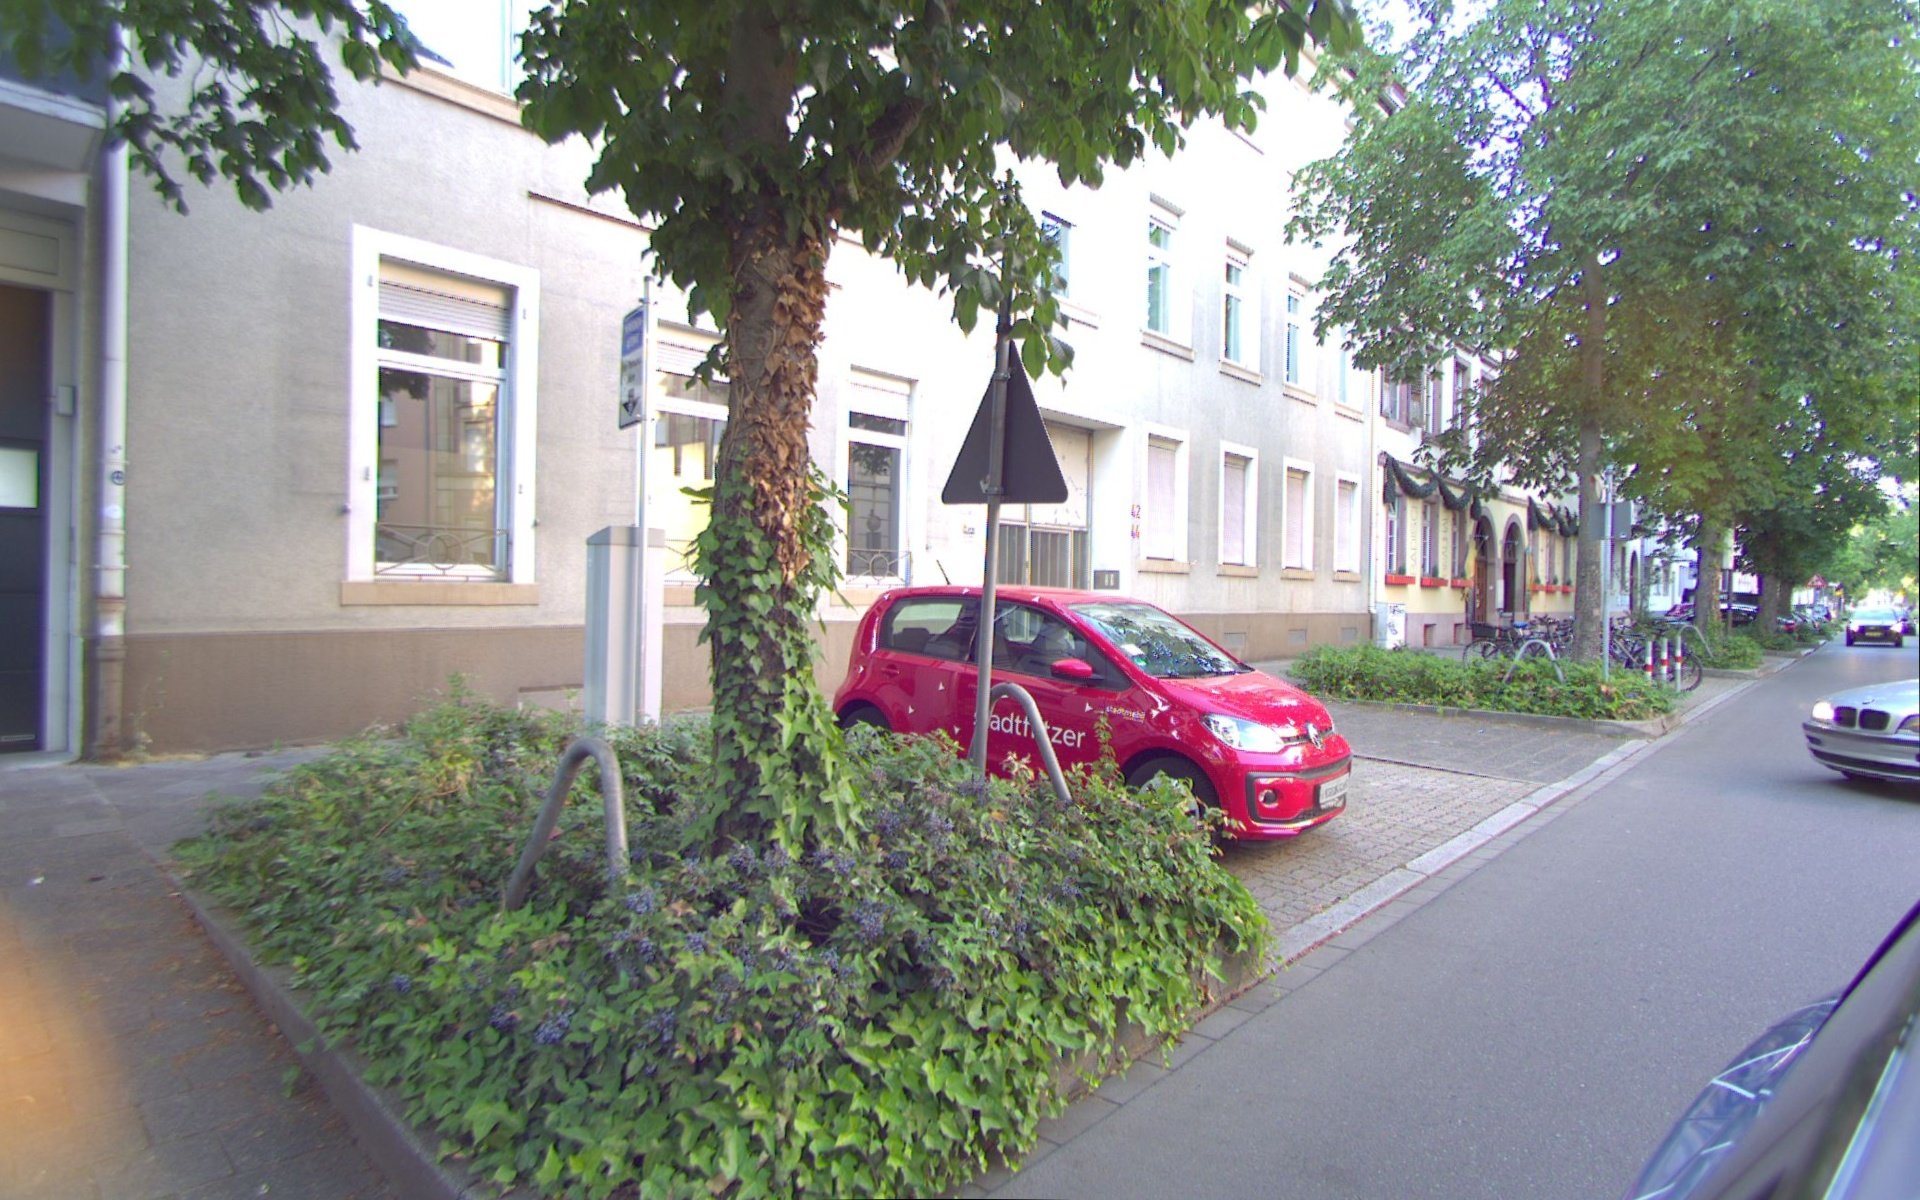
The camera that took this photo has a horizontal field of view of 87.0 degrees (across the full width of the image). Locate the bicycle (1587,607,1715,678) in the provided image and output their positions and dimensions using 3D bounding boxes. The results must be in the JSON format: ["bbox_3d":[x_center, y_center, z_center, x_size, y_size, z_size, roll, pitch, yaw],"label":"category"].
[{"bbox_3d":[13.468,0.803,19.764,2.019,1.242,0.528,2,1,39],"label":"bicycle"}]

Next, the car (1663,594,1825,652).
[{"bbox_3d":[26.612,0.726,34.449,4.232,1.761,1.715,2,1,43],"label":"car"}]

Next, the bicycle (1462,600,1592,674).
[{"bbox_3d":[10.297,0.645,18.430,2.014,1.242,0.529,2,1,33],"label":"bicycle"}]

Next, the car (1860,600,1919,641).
[{"bbox_3d":[38.623,0.818,41.912,1.802,1.571,3.935,2,1,45],"label":"car"}]

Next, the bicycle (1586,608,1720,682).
[{"bbox_3d":[12.988,0.813,19.011,2.019,1.242,0.528,2,1,39],"label":"bicycle"}]

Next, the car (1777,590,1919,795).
[{"bbox_3d":[9.078,0.688,7.591,4.356,1.460,1.711,1,1,4],"label":"car"}]

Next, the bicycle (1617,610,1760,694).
[{"bbox_3d":[11.850,0.826,16.531,1.835,1.242,0.529,2,1,33],"label":"bicycle"}]

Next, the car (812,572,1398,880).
[{"bbox_3d":[0.798,0.583,6.805,3.608,1.495,1.639,2,1,42],"label":"car"}]

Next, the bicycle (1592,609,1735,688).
[{"bbox_3d":[12.352,0.827,17.817,2.019,1.242,0.528,2,1,39],"label":"bicycle"}]

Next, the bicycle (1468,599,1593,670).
[{"bbox_3d":[10.929,0.632,19.424,2.017,1.242,0.529,2,1,37],"label":"bicycle"}]

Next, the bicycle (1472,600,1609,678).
[{"bbox_3d":[10.082,0.653,17.620,2.014,1.242,0.529,2,1,33],"label":"bicycle"}]
